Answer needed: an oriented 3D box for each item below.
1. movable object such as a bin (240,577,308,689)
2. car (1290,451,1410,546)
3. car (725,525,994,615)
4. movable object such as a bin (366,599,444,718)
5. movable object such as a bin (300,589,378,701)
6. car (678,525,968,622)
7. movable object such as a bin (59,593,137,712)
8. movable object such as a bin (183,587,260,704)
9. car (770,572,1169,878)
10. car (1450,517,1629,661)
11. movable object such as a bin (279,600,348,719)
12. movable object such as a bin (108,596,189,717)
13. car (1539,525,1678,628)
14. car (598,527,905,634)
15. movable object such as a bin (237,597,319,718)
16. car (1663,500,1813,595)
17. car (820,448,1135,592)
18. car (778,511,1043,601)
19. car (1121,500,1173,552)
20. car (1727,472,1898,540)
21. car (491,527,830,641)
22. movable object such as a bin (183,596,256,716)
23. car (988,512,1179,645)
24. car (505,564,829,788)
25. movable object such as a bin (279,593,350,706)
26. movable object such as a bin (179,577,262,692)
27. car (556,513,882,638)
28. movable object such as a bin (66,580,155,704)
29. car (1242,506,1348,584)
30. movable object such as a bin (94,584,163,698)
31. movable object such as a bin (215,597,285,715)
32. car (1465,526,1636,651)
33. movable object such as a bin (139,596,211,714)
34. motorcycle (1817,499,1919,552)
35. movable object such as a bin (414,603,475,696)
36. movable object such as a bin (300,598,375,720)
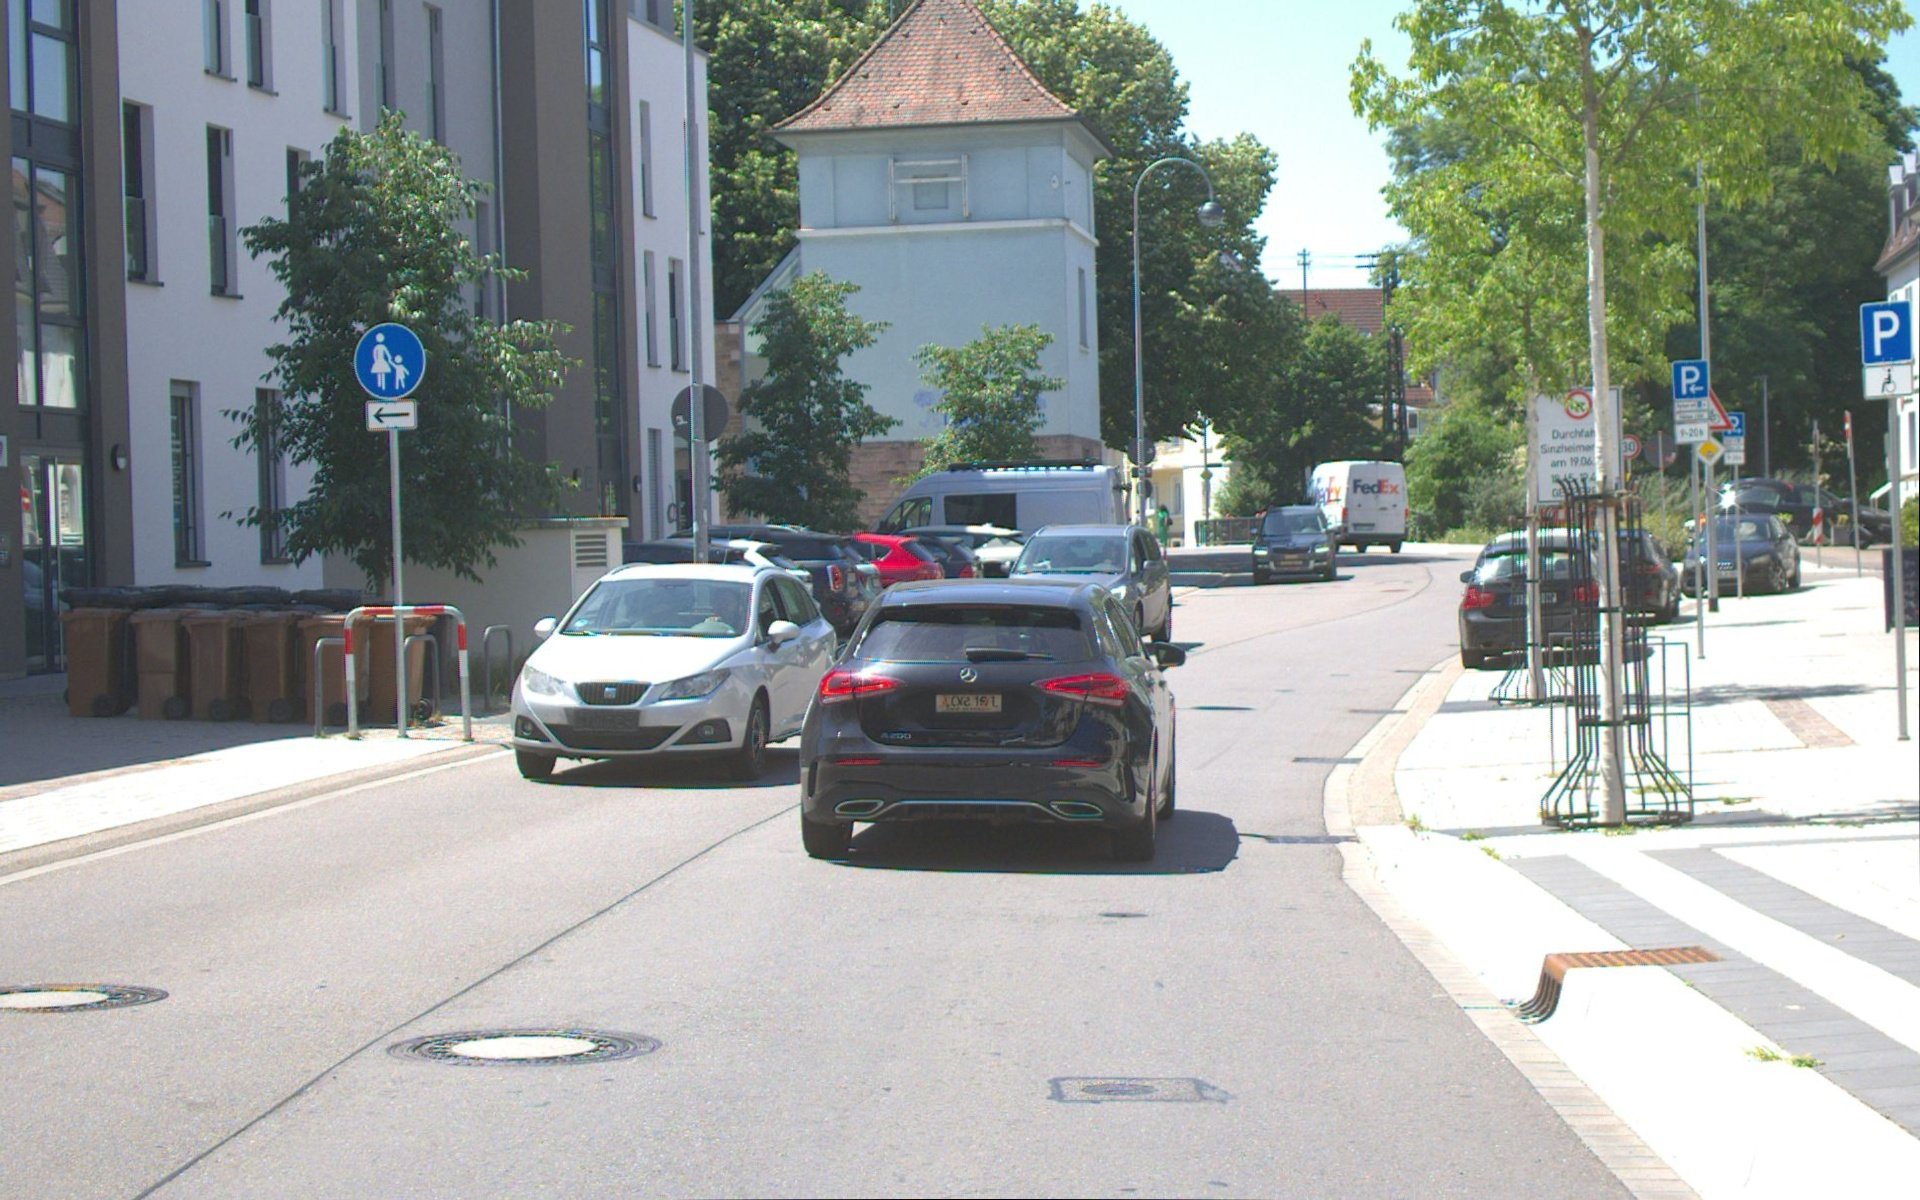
[{"bbox_3d":[-6.514,0.307,32.665,0.575,1.035,0.550,-1,1,-7],"label":"movable object such as a bin"},{"bbox_3d":[11.126,-2.874,98.463,2.127,2.621,5.279,0,1,-8],"label":"car"},{"bbox_3d":[-1.618,-0.513,56.500,4.200,1.432,1.885,0,1,6],"label":"car"},{"bbox_3d":[-4.766,0.501,29.552,0.483,0.994,0.588,-1,1,9],"label":"movable object such as a bin"},{"bbox_3d":[-5.764,0.414,31.919,0.554,1.016,0.560,-1,1,6],"label":"movable object such as a bin"},{"bbox_3d":[-2.057,-0.425,52.310,4.034,1.425,1.999,0,1,13],"label":"car"},{"bbox_3d":[-7.432,0.446,29.653,0.483,0.994,0.588,-1,1,3],"label":"movable object such as a bin"},{"bbox_3d":[-6.733,0.412,31.356,0.619,1.035,0.583,-1,1,-7],"label":"movable object such as a bin"},{"bbox_3d":[0.164,0.586,18.633,1.828,1.437,3.999,1,1,5],"label":"car"},{"bbox_3d":[6.730,-0.142,39.631,1.833,1.477,4.094,-3,0,11],"label":"car"},{"bbox_3d":[-5.558,0.507,29.573,0.403,0.994,0.555,-1,1,9],"label":"movable object such as a bin"},{"bbox_3d":[-6.851,0.475,29.030,0.483,0.994,0.526,-1,1,8],"label":"movable object such as a bin"},{"bbox_3d":[9.816,-0.390,51.830,1.725,1.400,4.606,-2,1,14],"label":"car"},{"bbox_3d":[-2.988,-0.305,49.710,4.034,1.491,1.999,0,1,13],"label":"car"},{"bbox_3d":[-5.768,0.482,29.094,0.483,0.994,0.588,-1,1,9],"label":"movable object such as a bin"},{"bbox_3d":[14.122,-0.972,62.267,1.874,1.486,3.857,-2,2,24],"label":"car"},{"bbox_3d":[0.362,-1.551,66.534,5.770,2.723,2.290,0,1,11],"label":"car"},{"bbox_3d":[-0.871,-0.809,61.875,4.455,1.585,1.999,0,1,10],"label":"car"},{"bbox_3d":[7.441,-2.933,137.036,1.993,2.007,4.000,1,1,2],"label":"car"},{"bbox_3d":[21.722,-2.405,87.753,4.076,1.710,1.856,0,1,9],"label":"car"},{"bbox_3d":[-3.844,-0.228,44.447,3.989,1.416,1.909,0,1,11],"label":"car"},{"bbox_3d":[-6.295,0.475,29.232,0.425,0.994,0.523,-1,1,10],"label":"movable object such as a bin"},{"bbox_3d":[1.672,-0.298,44.929,1.943,1.653,4.234,0,1,10],"label":"car"},{"bbox_3d":[-1.998,0.478,24.451,1.667,1.391,3.847,2,1,4],"label":"car"},{"bbox_3d":[-5.843,0.448,31.128,0.554,0.994,0.404,-2,1,-3],"label":"movable object such as a bin"},{"bbox_3d":[-6.877,0.313,31.985,0.675,1.035,0.605,-1,1,-7],"label":"movable object such as a bin"},{"bbox_3d":[-3.265,-0.363,46.900,4.034,1.645,1.999,0,1,13],"label":"car"},{"bbox_3d":[-7.689,0.376,31.137,0.692,1.092,0.648,-1,1,-7],"label":"movable object such as a bin"},{"bbox_3d":[7.526,-1.234,76.955,1.812,1.695,4.074,0,1,13],"label":"car"},{"bbox_3d":[-7.760,0.376,32.082,0.554,1.035,0.482,-1,1,-7],"label":"movable object such as a bin"},{"bbox_3d":[-6.153,0.478,29.790,0.403,0.994,0.555,-1,1,9],"label":"movable object such as a bin"},{"bbox_3d":[7.890,-0.187,45.676,1.739,1.481,4.051,-3,0,16],"label":"car"},{"bbox_3d":[-6.767,0.471,29.646,0.403,0.994,0.555,-1,1,9],"label":"movable object such as a bin"},{"bbox_3d":[22.254,-1.828,84.204,2.378,1.271,0.856,0,2,10],"label":"motorcycle"},{"bbox_3d":[-4.942,0.473,32.968,0.554,0.865,0.482,-1,1,-7],"label":"movable object such as a bin"},{"bbox_3d":[-5.231,0.489,28.919,0.483,0.994,0.588,-1,1,3],"label":"movable object such as a bin"}]
